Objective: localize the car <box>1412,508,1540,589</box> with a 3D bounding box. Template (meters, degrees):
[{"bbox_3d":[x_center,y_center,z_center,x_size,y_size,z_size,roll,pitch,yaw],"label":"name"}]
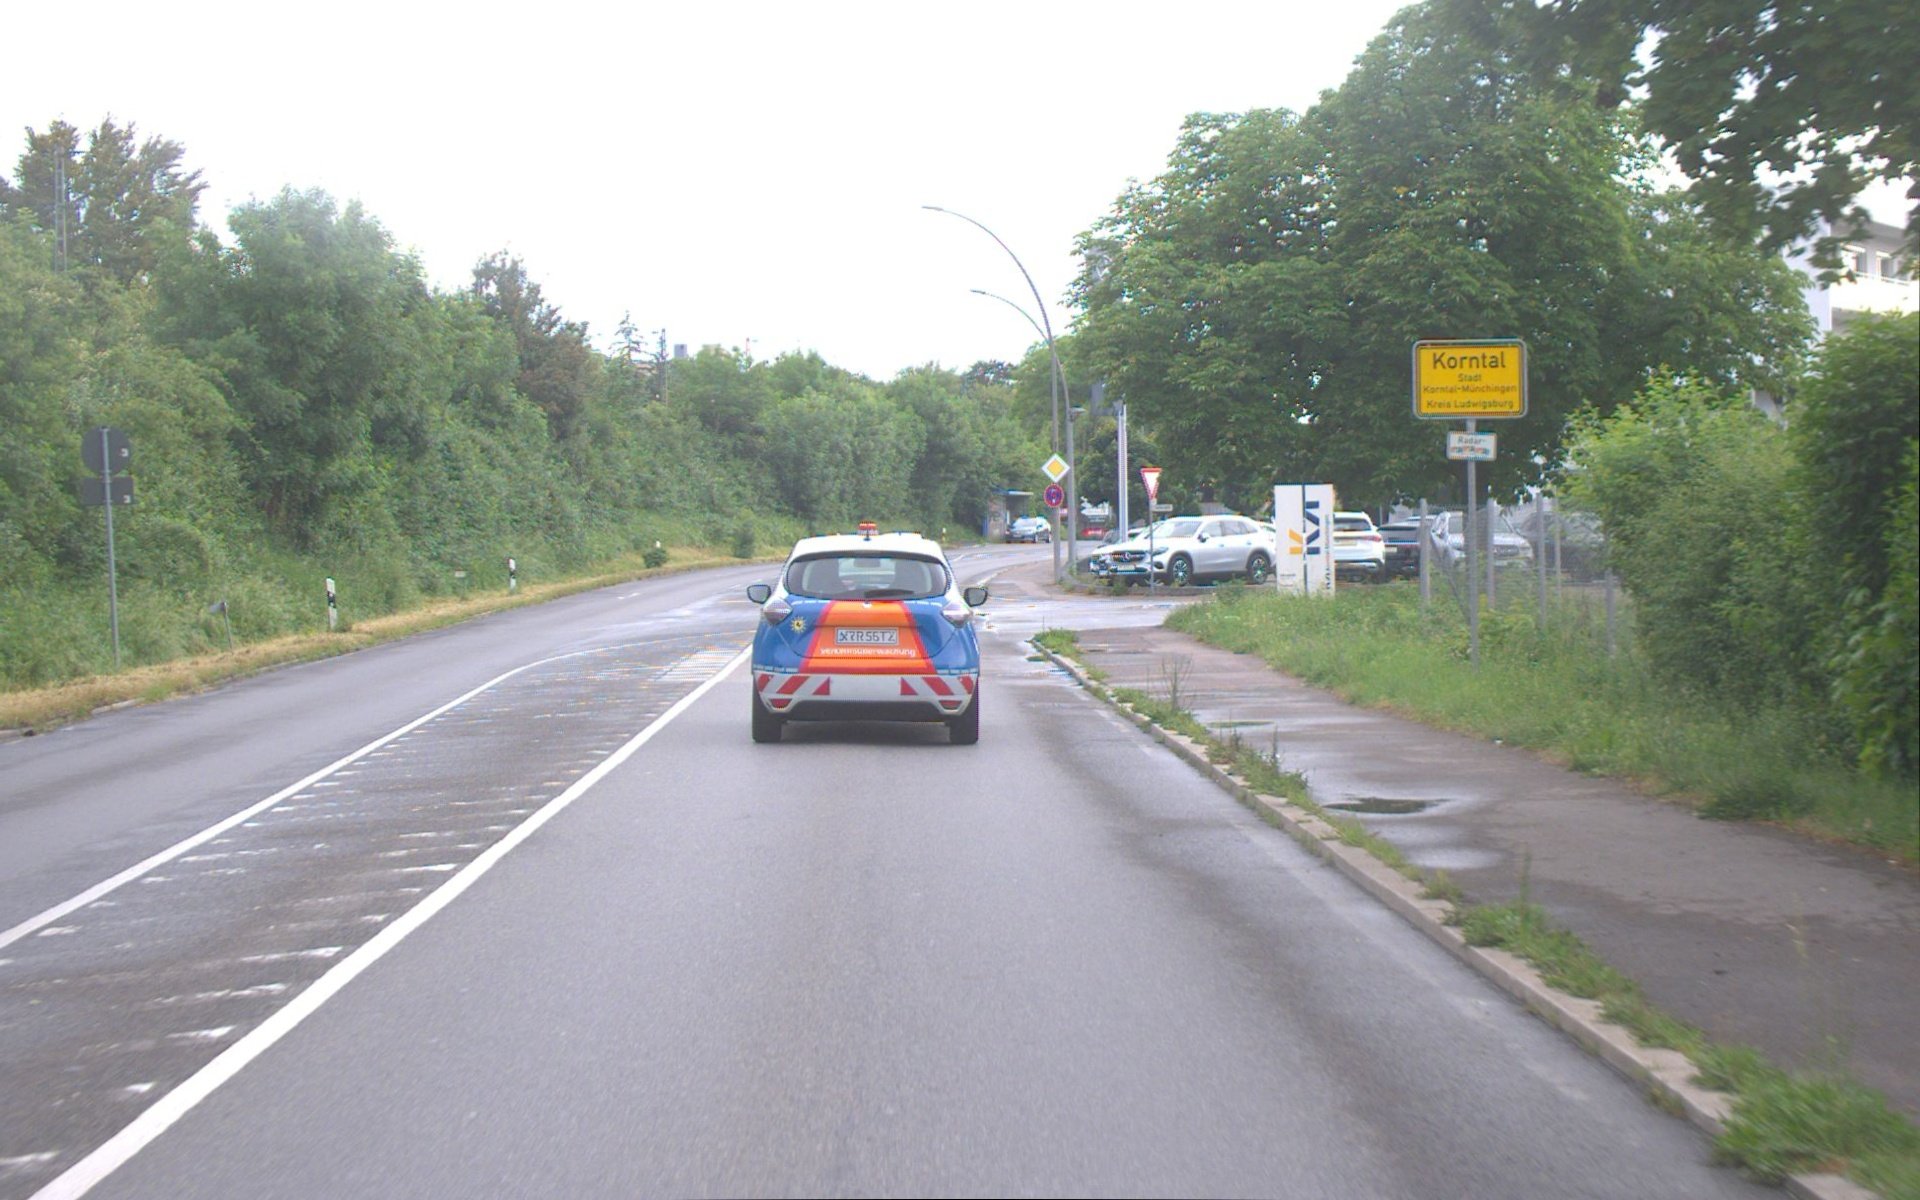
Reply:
[{"bbox_3d":[11.669,-1.164,78.016,1.936,1.745,4.619,1,1,-3],"label":"car"}]

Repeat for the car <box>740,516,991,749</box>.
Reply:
[{"bbox_3d":[-0.737,0.219,26.989,1.806,1.662,3.856,1,1,-1],"label":"car"}]

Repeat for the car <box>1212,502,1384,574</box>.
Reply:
[{"bbox_3d":[8.443,-1.570,85.564,1.929,1.745,4.608,1,2,42],"label":"car"}]

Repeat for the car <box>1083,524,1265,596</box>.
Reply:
[{"bbox_3d":[5.500,-1.004,88.106,4.605,1.745,1.807,0,-1,-38],"label":"car"}]

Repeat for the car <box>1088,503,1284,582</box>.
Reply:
[{"bbox_3d":[5.309,-1.338,80.477,2.034,1.745,4.606,2,1,45],"label":"car"}]

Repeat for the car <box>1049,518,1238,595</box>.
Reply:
[{"bbox_3d":[4.478,-1.030,83.553,2.034,1.745,4.606,-1,-1,45],"label":"car"}]

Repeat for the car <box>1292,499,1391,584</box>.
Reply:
[{"bbox_3d":[8.551,-1.299,77.280,1.826,1.823,4.263,1,1,1],"label":"car"}]

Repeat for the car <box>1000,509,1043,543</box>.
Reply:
[{"bbox_3d":[3.487,-4.176,194.273,1.695,1.784,3.854,1,1,11],"label":"car"}]

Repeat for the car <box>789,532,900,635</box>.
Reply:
[{"bbox_3d":[-1.867,-0.282,56.395,1.694,1.590,3.856,1,1,0],"label":"car"}]
